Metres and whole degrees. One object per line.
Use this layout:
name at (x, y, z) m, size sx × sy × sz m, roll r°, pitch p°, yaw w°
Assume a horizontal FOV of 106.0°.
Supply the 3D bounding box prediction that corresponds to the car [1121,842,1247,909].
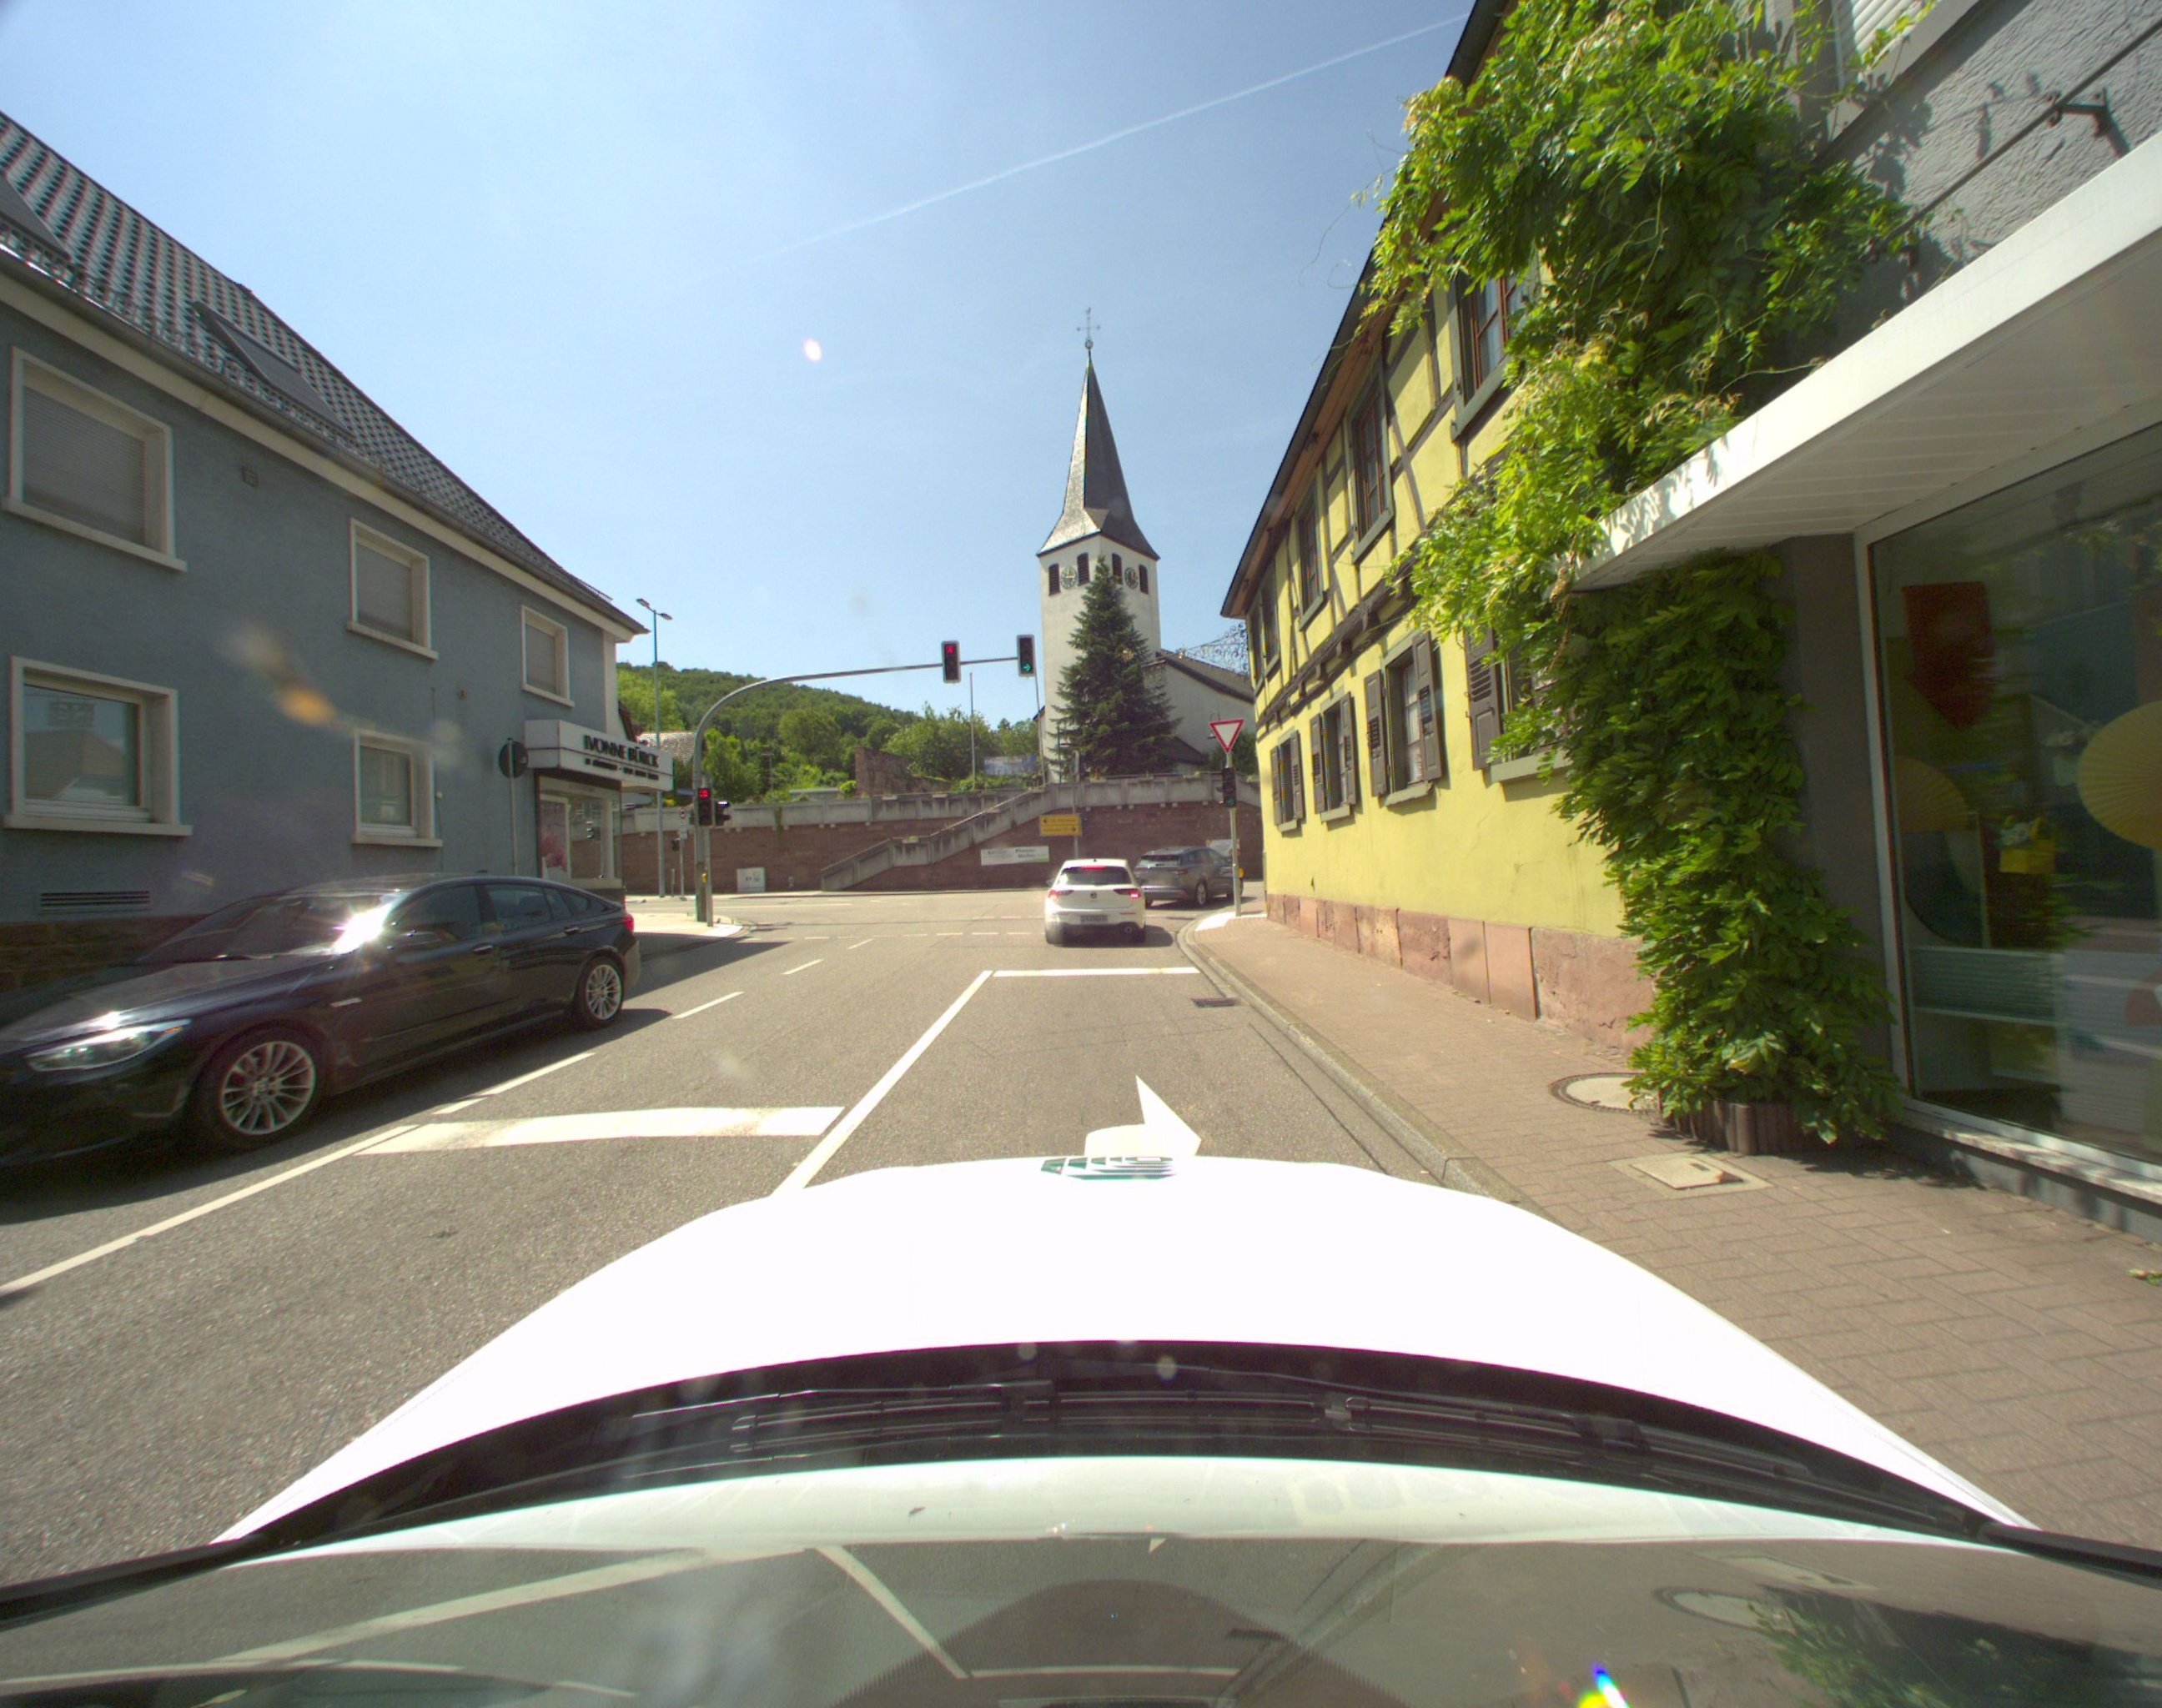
car at (3.018, 0.540, 23.076) m, size 1.930 × 1.582 × 4.354 m, roll -2°, pitch 1°, yaw 30°

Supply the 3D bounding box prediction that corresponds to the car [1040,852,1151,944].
car at (0.351, 0.750, 15.440) m, size 1.775 × 1.458 × 3.866 m, roll -3°, pitch -1°, yaw 3°

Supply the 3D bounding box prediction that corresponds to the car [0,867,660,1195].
car at (-5.534, 0.939, 6.289) m, size 1.790 × 1.487 × 4.800 m, roll -5°, pitch -1°, yaw 2°
